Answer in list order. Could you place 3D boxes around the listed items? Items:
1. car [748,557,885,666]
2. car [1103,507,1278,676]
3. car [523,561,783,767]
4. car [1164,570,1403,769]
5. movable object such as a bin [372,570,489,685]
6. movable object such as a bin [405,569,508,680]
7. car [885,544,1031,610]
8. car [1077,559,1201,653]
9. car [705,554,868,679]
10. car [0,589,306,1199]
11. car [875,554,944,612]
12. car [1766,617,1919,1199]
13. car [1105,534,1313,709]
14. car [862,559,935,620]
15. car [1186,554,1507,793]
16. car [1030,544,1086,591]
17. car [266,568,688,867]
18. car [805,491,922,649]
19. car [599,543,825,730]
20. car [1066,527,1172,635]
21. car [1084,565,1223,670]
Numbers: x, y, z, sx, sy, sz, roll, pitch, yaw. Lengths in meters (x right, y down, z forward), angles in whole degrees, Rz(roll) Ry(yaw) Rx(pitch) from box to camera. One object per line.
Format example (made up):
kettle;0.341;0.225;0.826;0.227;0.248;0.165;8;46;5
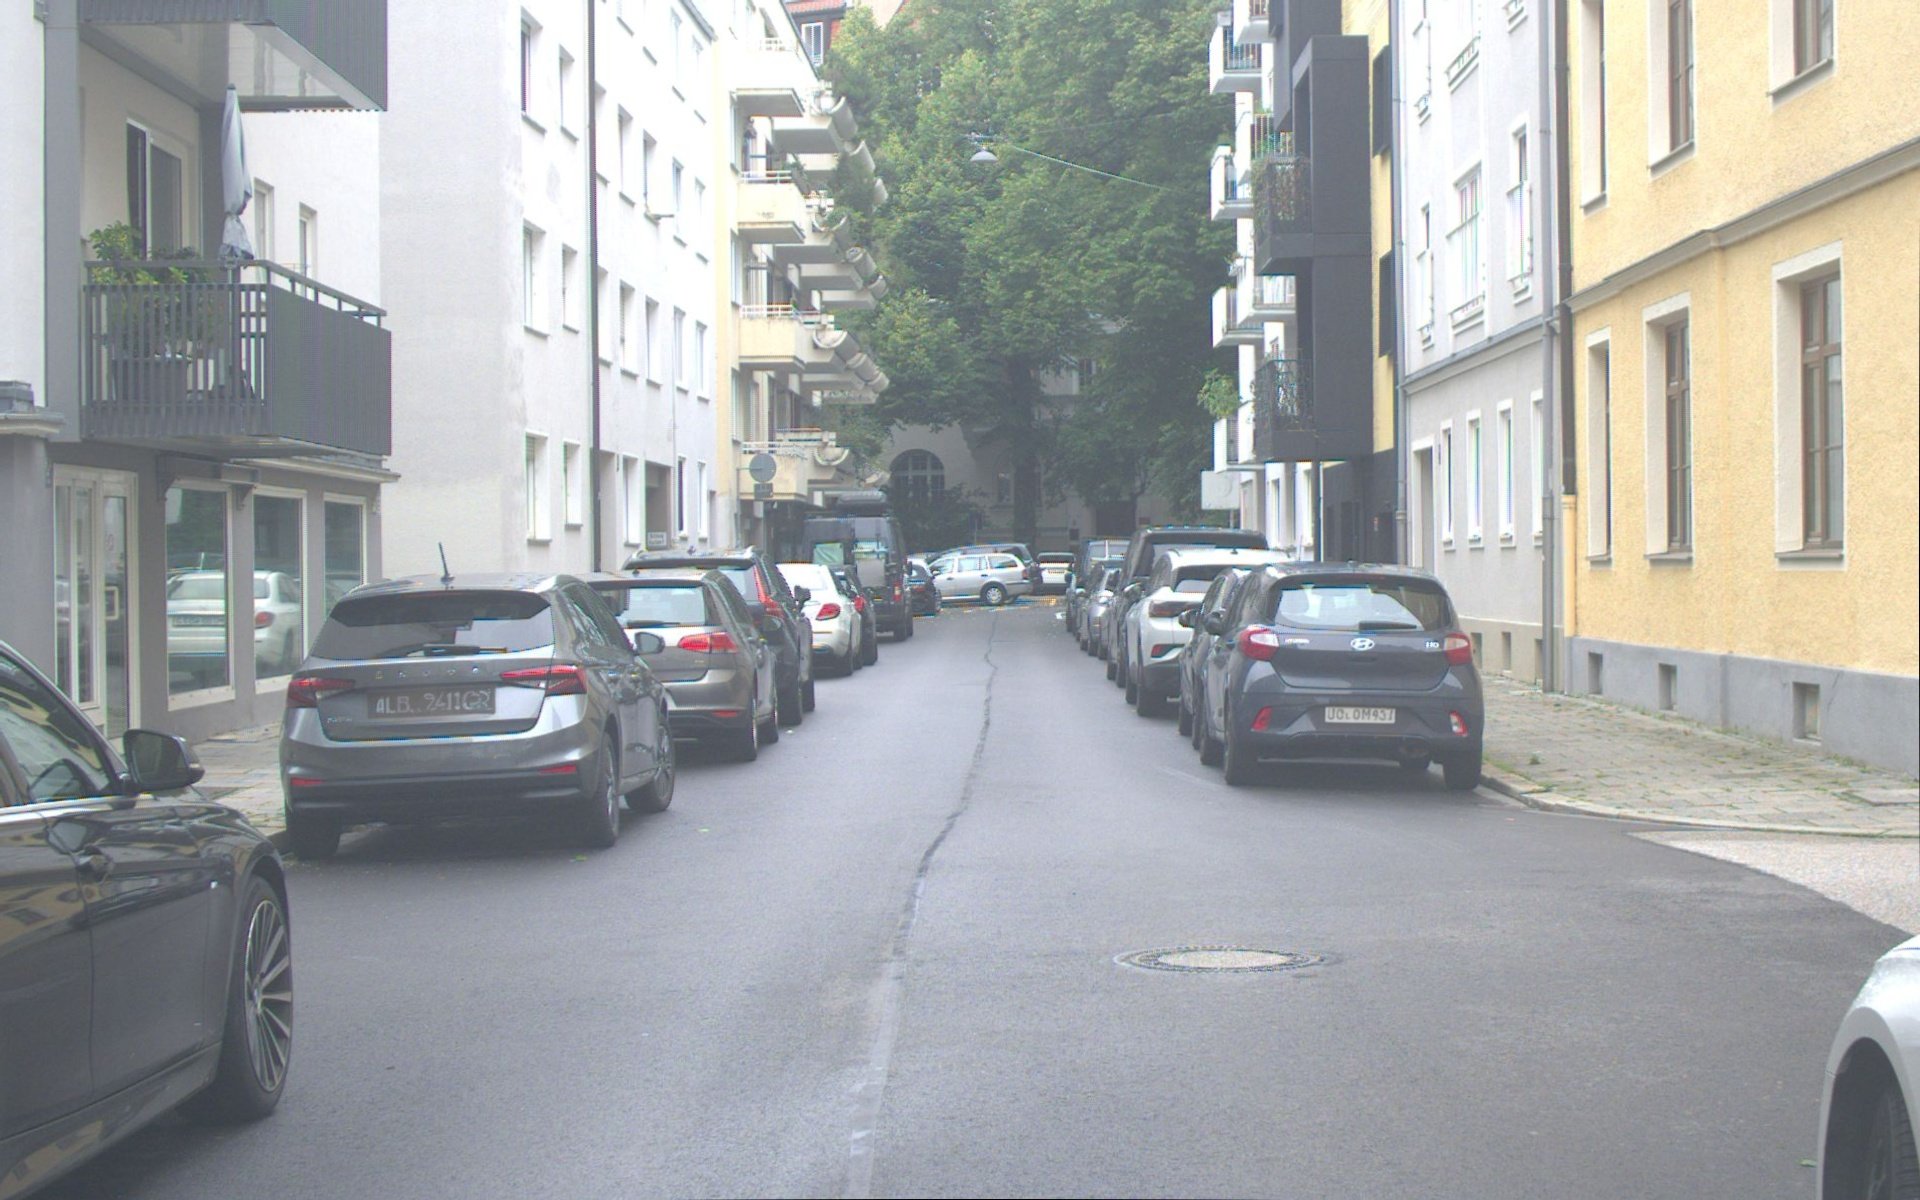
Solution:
car;-2.085;0.137;50.858;1.777;1.448;4.046;-3;1;0
car;2.748;-0.133;41.818;1.829;1.903;4.415;1;1;1
car;-2.329;0.443;26.932;1.693;1.437;3.978;-1;1;-1
car;2.624;0.523;28.625;1.664;1.464;3.819;2;1;1
movable object such as a bin;-6.486;0.330;42.134;1.166;1.332;1.025;-3;0;4
movable object such as a bin;-6.322;0.302;43.208;1.047;1.332;0.993;-3;0;4
car;-0.064;-0.633;94.154;3.885;1.579;1.648;-3;1;0
car;2.986;0.068;58.065;1.829;1.449;4.415;3;1;0
car;-2.257;0.178;45.725;1.777;1.482;4.519;-3;1;1
car;-2.793;0.726;7.297;1.856;1.403;4.383;-1;1;1
car;-1.271;-0.451;88.115;1.642;1.379;3.482;-3;1;0
car;2.338;0.770;4.096;1.819;1.403;3.952;1;1;0
car;2.410;0.162;34.188;1.682;1.562;4.416;2;1;0
car;-1.485;-0.275;84.323;1.642;1.379;3.482;-3;1;0
car;2.634;0.445;24.353;1.751;1.464;4.343;2;1;0
car;3.160;-1.058;111.196;1.642;1.379;3.746;-3;1;0
car;-2.584;0.572;19.241;1.693;1.437;3.942;-1;1;1
car;-1.801;-0.580;65.440;1.936;2.792;4.533;-3;1;0
car;-2.288;0.293;32.757;1.777;1.623;4.415;-1;1;0
car;3.119;-0.399;68.268;1.829;1.992;4.415;3;1;0
car;2.911;0.233;52.582;1.829;1.449;4.415;3;1;0
